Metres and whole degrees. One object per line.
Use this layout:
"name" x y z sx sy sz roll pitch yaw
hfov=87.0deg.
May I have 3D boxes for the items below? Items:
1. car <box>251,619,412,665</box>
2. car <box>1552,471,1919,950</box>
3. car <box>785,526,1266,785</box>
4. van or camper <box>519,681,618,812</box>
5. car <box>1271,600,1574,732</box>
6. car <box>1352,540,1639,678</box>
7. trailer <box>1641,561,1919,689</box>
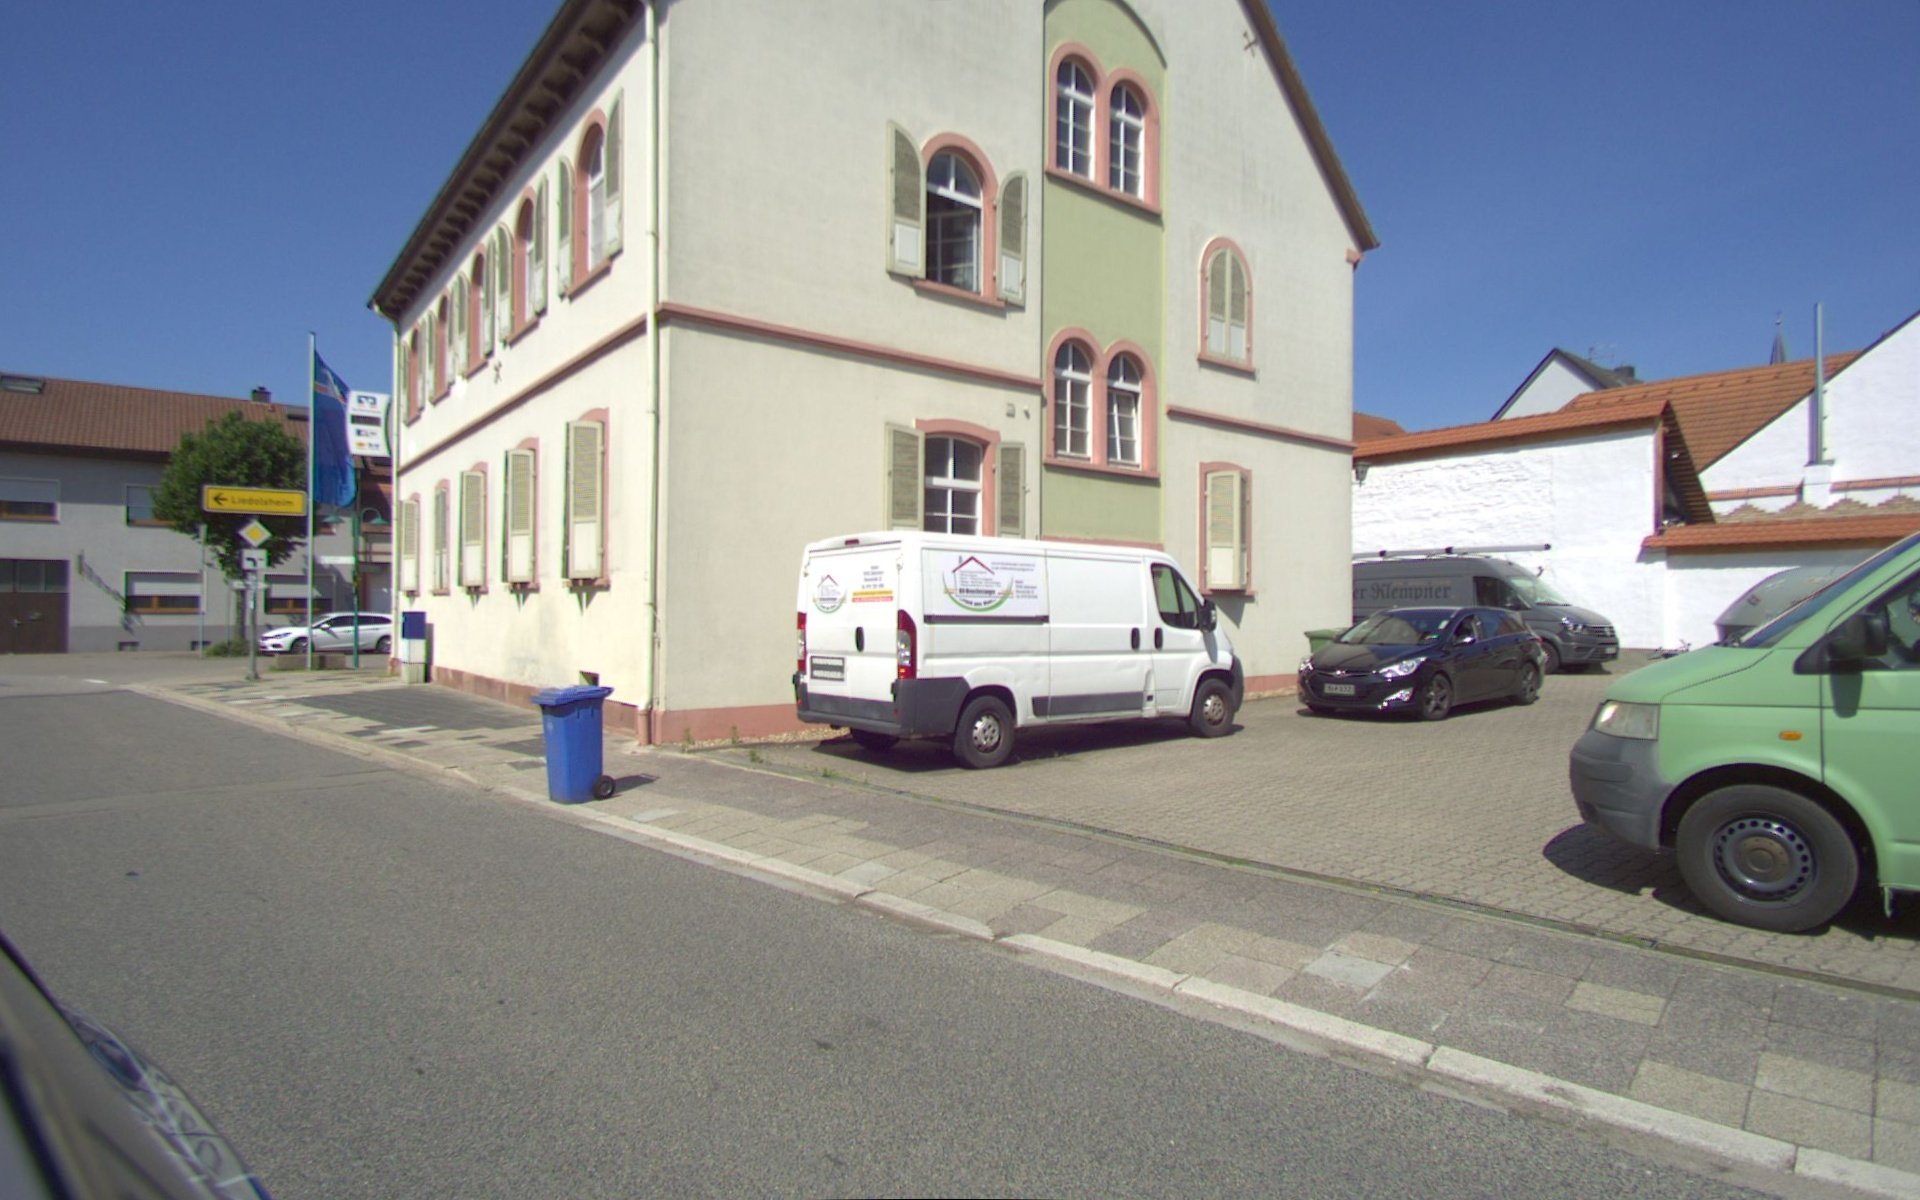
"car" -21.869 1.409 35.344 1.853 1.451 4.453 -1 -1 39
"car" 5.361 0.444 4.205 4.670 1.979 1.971 -1 -1 44
"car" 0.885 0.497 11.072 5.108 2.213 2.127 0 -1 -37
"van or camper" -3.194 1.171 8.263 0.582 0.959 0.601 1 -1 -42
"car" 6.567 0.813 14.229 4.292 1.477 1.914 -2 0 -35
"car" 11.608 0.212 22.347 1.967 2.693 5.243 0 -1 -37
"trailer" 15.159 0.424 17.810 1.968 2.029 4.906 0 -1 -38
